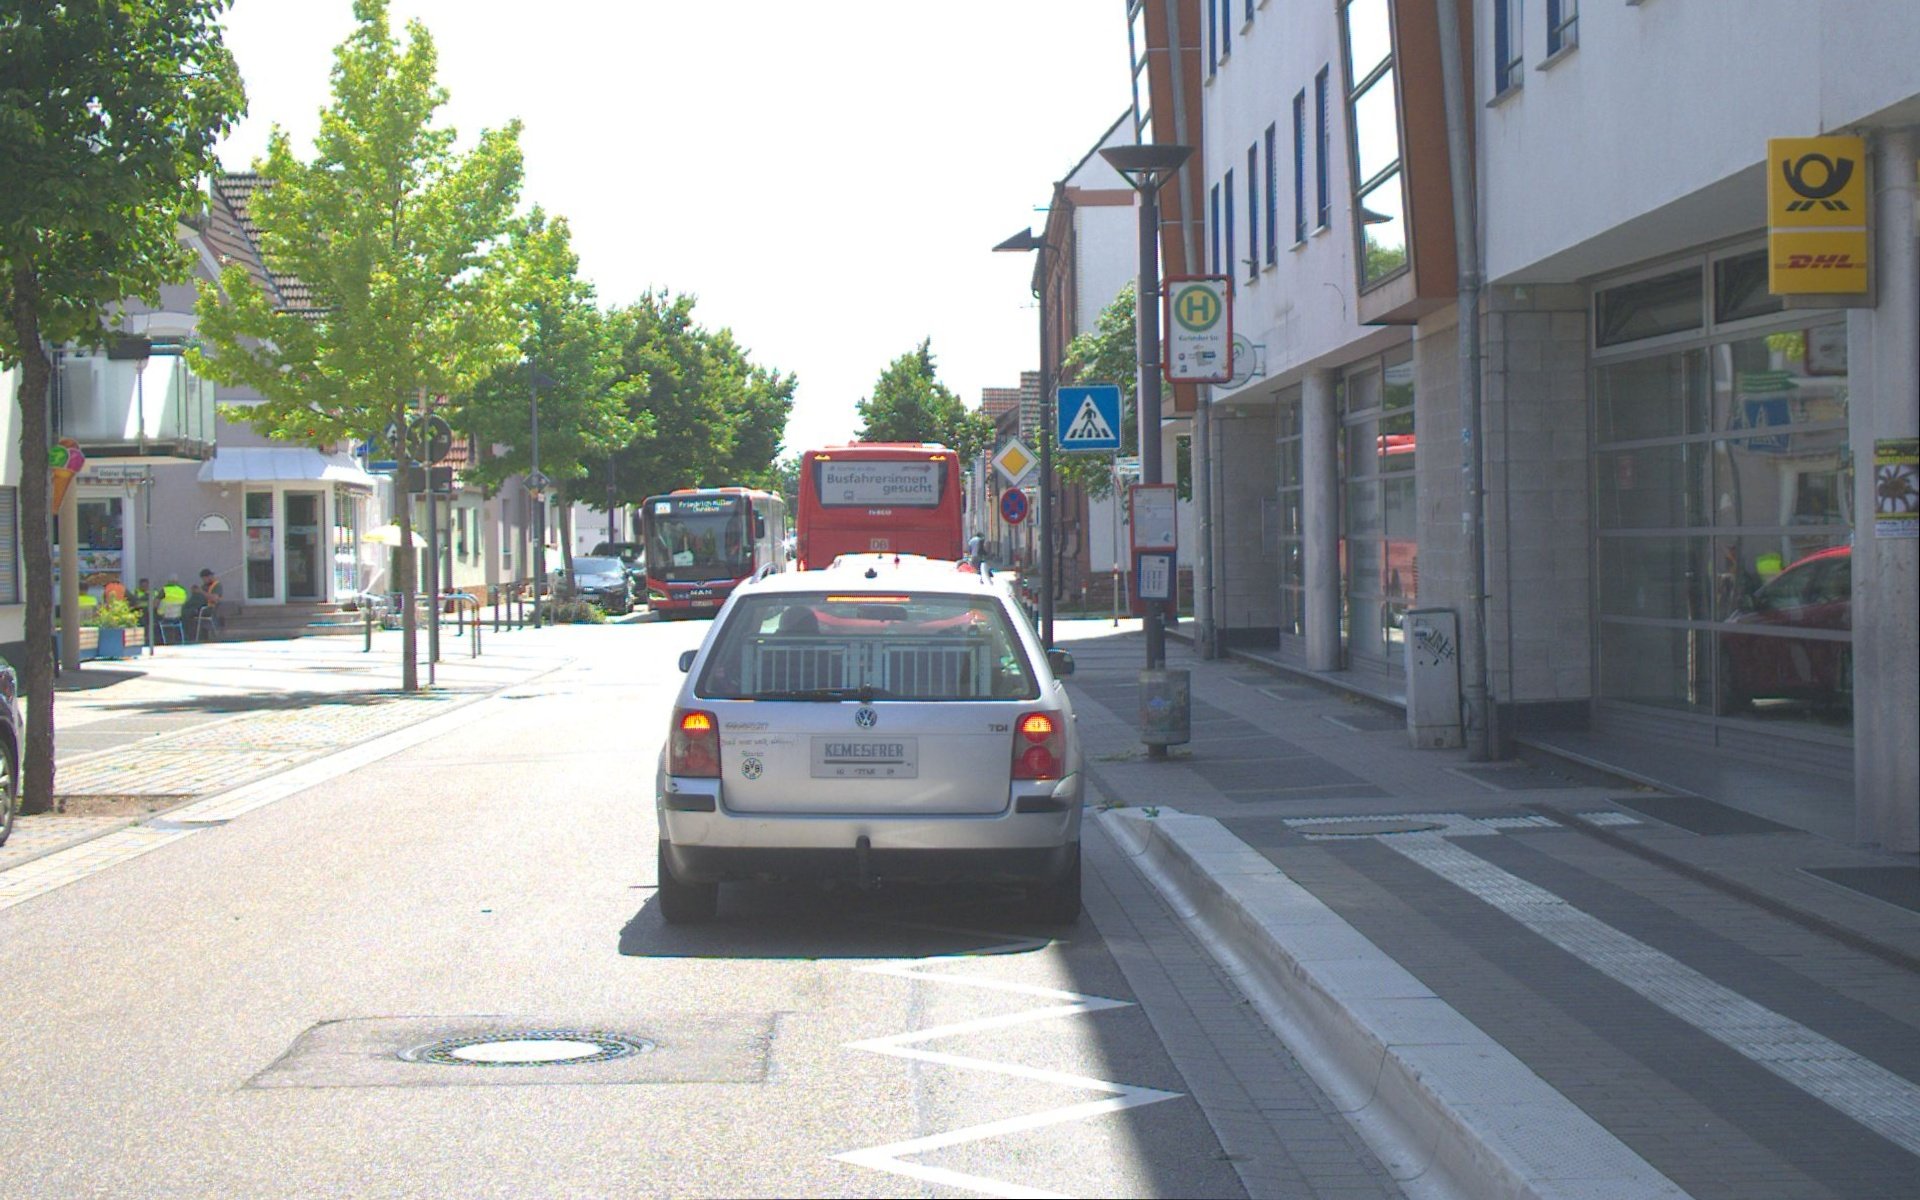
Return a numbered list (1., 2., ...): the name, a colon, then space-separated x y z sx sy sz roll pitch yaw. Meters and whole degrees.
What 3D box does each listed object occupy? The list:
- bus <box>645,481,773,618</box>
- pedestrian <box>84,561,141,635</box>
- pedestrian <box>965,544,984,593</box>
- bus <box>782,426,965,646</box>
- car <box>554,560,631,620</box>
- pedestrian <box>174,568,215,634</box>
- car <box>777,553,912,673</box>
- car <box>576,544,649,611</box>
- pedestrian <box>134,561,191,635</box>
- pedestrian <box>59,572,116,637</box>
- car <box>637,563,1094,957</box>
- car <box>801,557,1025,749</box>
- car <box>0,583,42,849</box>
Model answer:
1. bus: -6.231 -1.326 87.782 2.668 3.113 17.809 0 1 -2
2. pedestrian: -15.153 -0.033 61.484 0.634 1.284 0.789 2 0 -45
3. pedestrian: 0.483 -1.063 116.130 0.606 1.661 0.789 -1 1 -3
4. bus: -1.614 -1.014 57.787 2.740 3.287 12.706 0 1 -3
5. car: -9.214 -0.268 86.363 1.605 1.433 4.065 -1 1 -2
6. pedestrian: -13.870 0.012 62.309 0.622 1.175 0.697 -1 1 -5
7. car: -1.427 0.130 43.385 1.593 1.425 3.680 1 1 -1
8. car: -9.895 -0.655 98.077 1.764 1.831 3.789 -1 1 -2
9. pedestrian: -14.203 -0.044 61.249 0.634 1.284 0.789 2 0 -45
10. pedestrian: -15.356 0.071 60.484 0.634 1.112 0.789 2 0 -45
11. car: -0.406 0.585 14.820 1.677 1.425 3.680 2 1 -2
12. car: -0.409 0.380 27.982 1.677 1.425 3.680 1 1 -2
13. car: -6.031 0.658 17.262 1.660 1.432 4.538 -1 1 -1
